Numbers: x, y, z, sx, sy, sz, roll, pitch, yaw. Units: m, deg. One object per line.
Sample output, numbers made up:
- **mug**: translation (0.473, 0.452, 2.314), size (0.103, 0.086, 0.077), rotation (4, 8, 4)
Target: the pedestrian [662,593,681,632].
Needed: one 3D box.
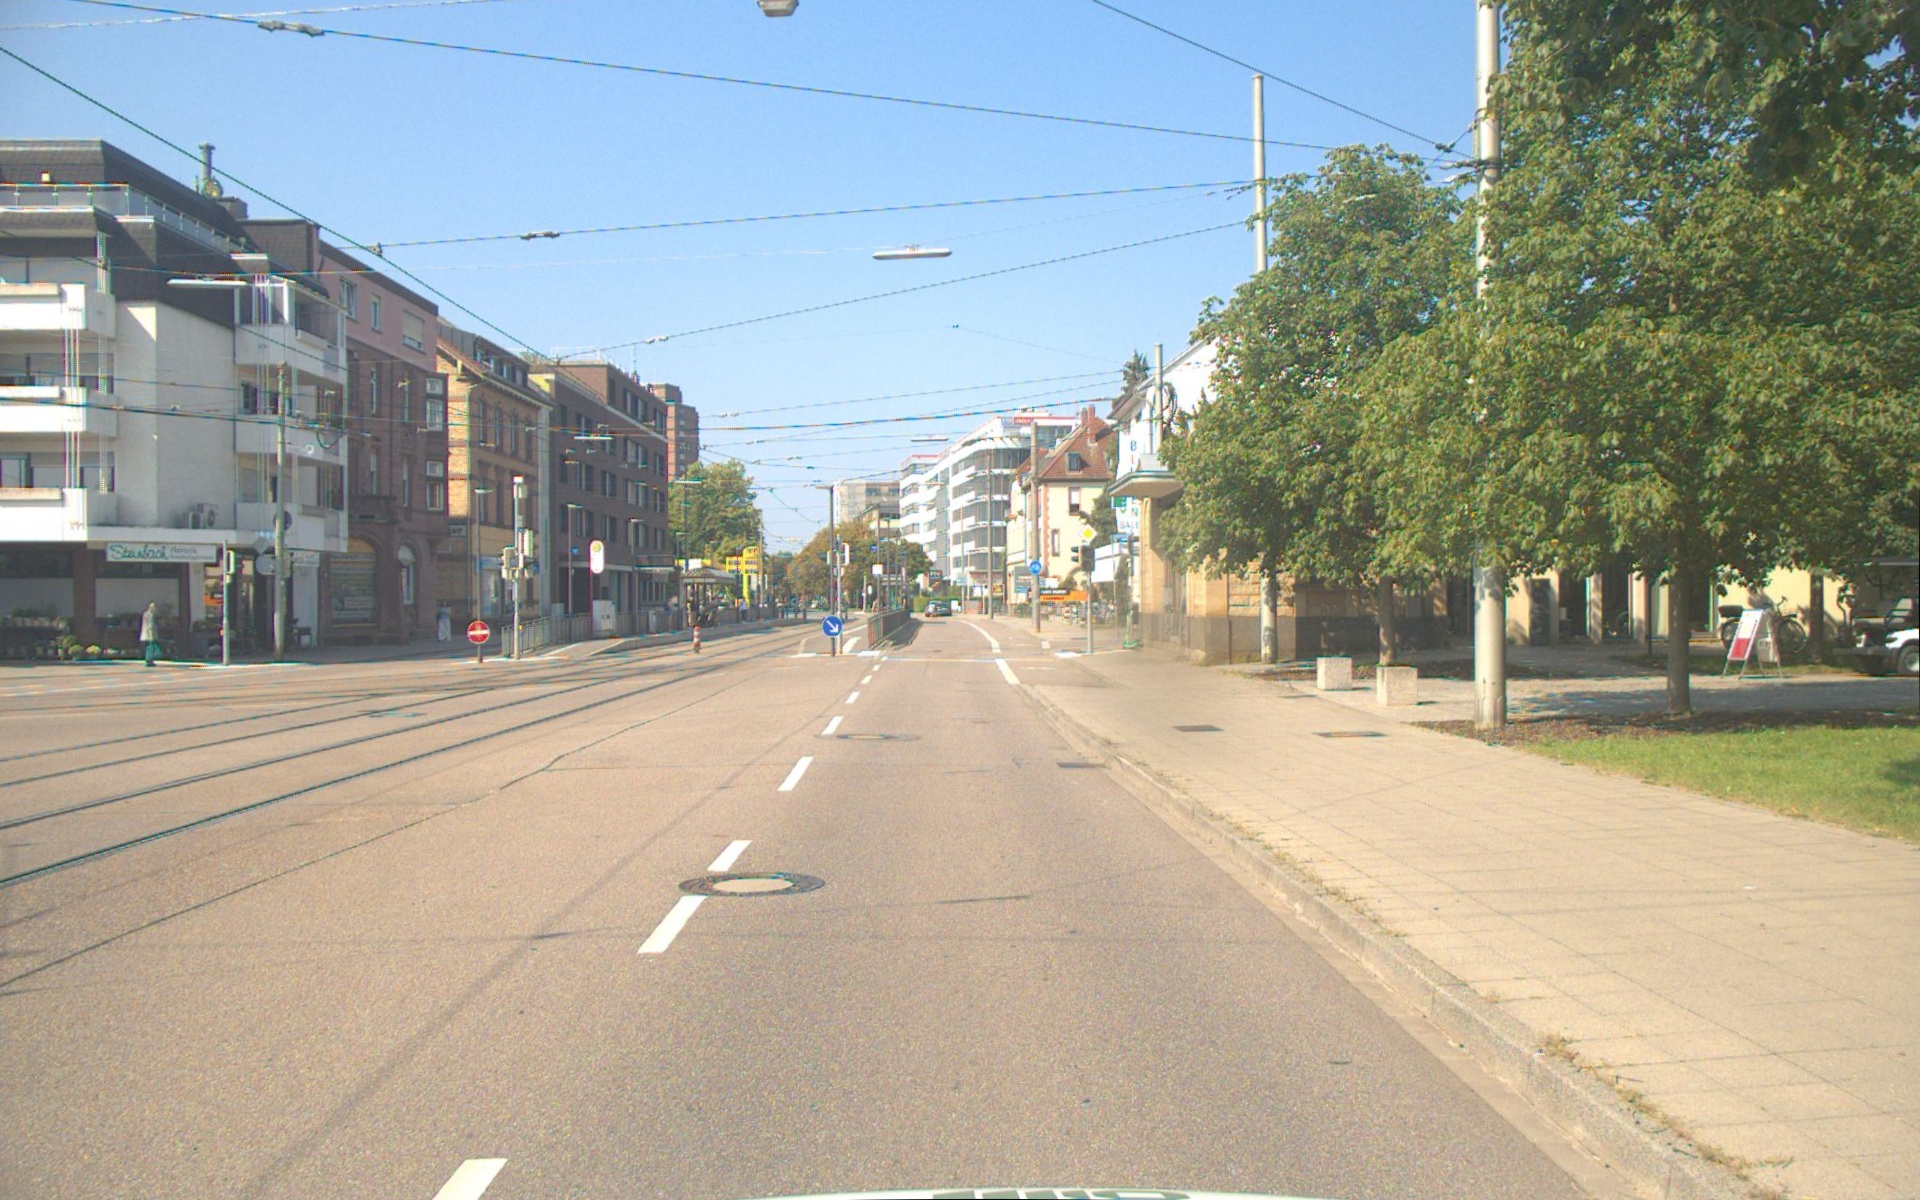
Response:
- **pedestrian**: translation (-13.510, 0.580, 77.493), size (0.693, 1.753, 0.799), rotation (-2, -1, 0)

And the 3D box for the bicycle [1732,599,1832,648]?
- **bicycle**: translation (17.061, 0.485, 34.344), size (1.865, 0.997, 0.427), rotation (0, 0, -1)

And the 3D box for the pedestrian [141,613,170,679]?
- **pedestrian**: translation (-22.124, 1.266, 45.472), size (0.593, 1.776, 0.559), rotation (-2, -1, -34)

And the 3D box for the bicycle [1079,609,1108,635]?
- **bicycle**: translation (6.369, 1.051, 79.120), size (0.717, 1.152, 2.834), rotation (-4, 0, -8)

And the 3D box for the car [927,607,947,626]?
- **car**: translation (-2.408, 1.766, 174.986), size (1.970, 1.891, 4.000), rotation (-2, 0, 0)

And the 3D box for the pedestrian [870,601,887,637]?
- **pedestrian**: translation (-3.962, 0.917, 79.990), size (0.705, 1.733, 0.884), rotation (-2, -1, 0)

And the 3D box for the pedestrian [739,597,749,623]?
- **pedestrian**: translation (-13.028, 0.586, 99.749), size (0.522, 1.557, 0.700), rotation (-2, -1, -7)

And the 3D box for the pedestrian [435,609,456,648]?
- **pedestrian**: translation (-21.073, 1.169, 67.749), size (0.472, 1.587, 0.888), rotation (0, -1, 10)

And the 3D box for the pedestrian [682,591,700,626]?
- **pedestrian**: translation (-13.685, 0.441, 84.222), size (0.693, 1.777, 0.799), rotation (-2, -1, 0)

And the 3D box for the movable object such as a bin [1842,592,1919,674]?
- **movable object such as a bin**: translation (16.671, 0.523, 27.744), size (3.043, 1.321, 1.300), rotation (-1, 0, -2)

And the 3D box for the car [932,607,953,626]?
- **car**: translation (-1.782, 1.678, 168.884), size (1.970, 1.891, 4.000), rotation (-2, 0, 0)

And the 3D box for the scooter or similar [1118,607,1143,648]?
- **scooter or similar**: translation (4.921, 0.794, 47.806), size (0.512, 1.153, 1.511), rotation (-2, 0, 0)
